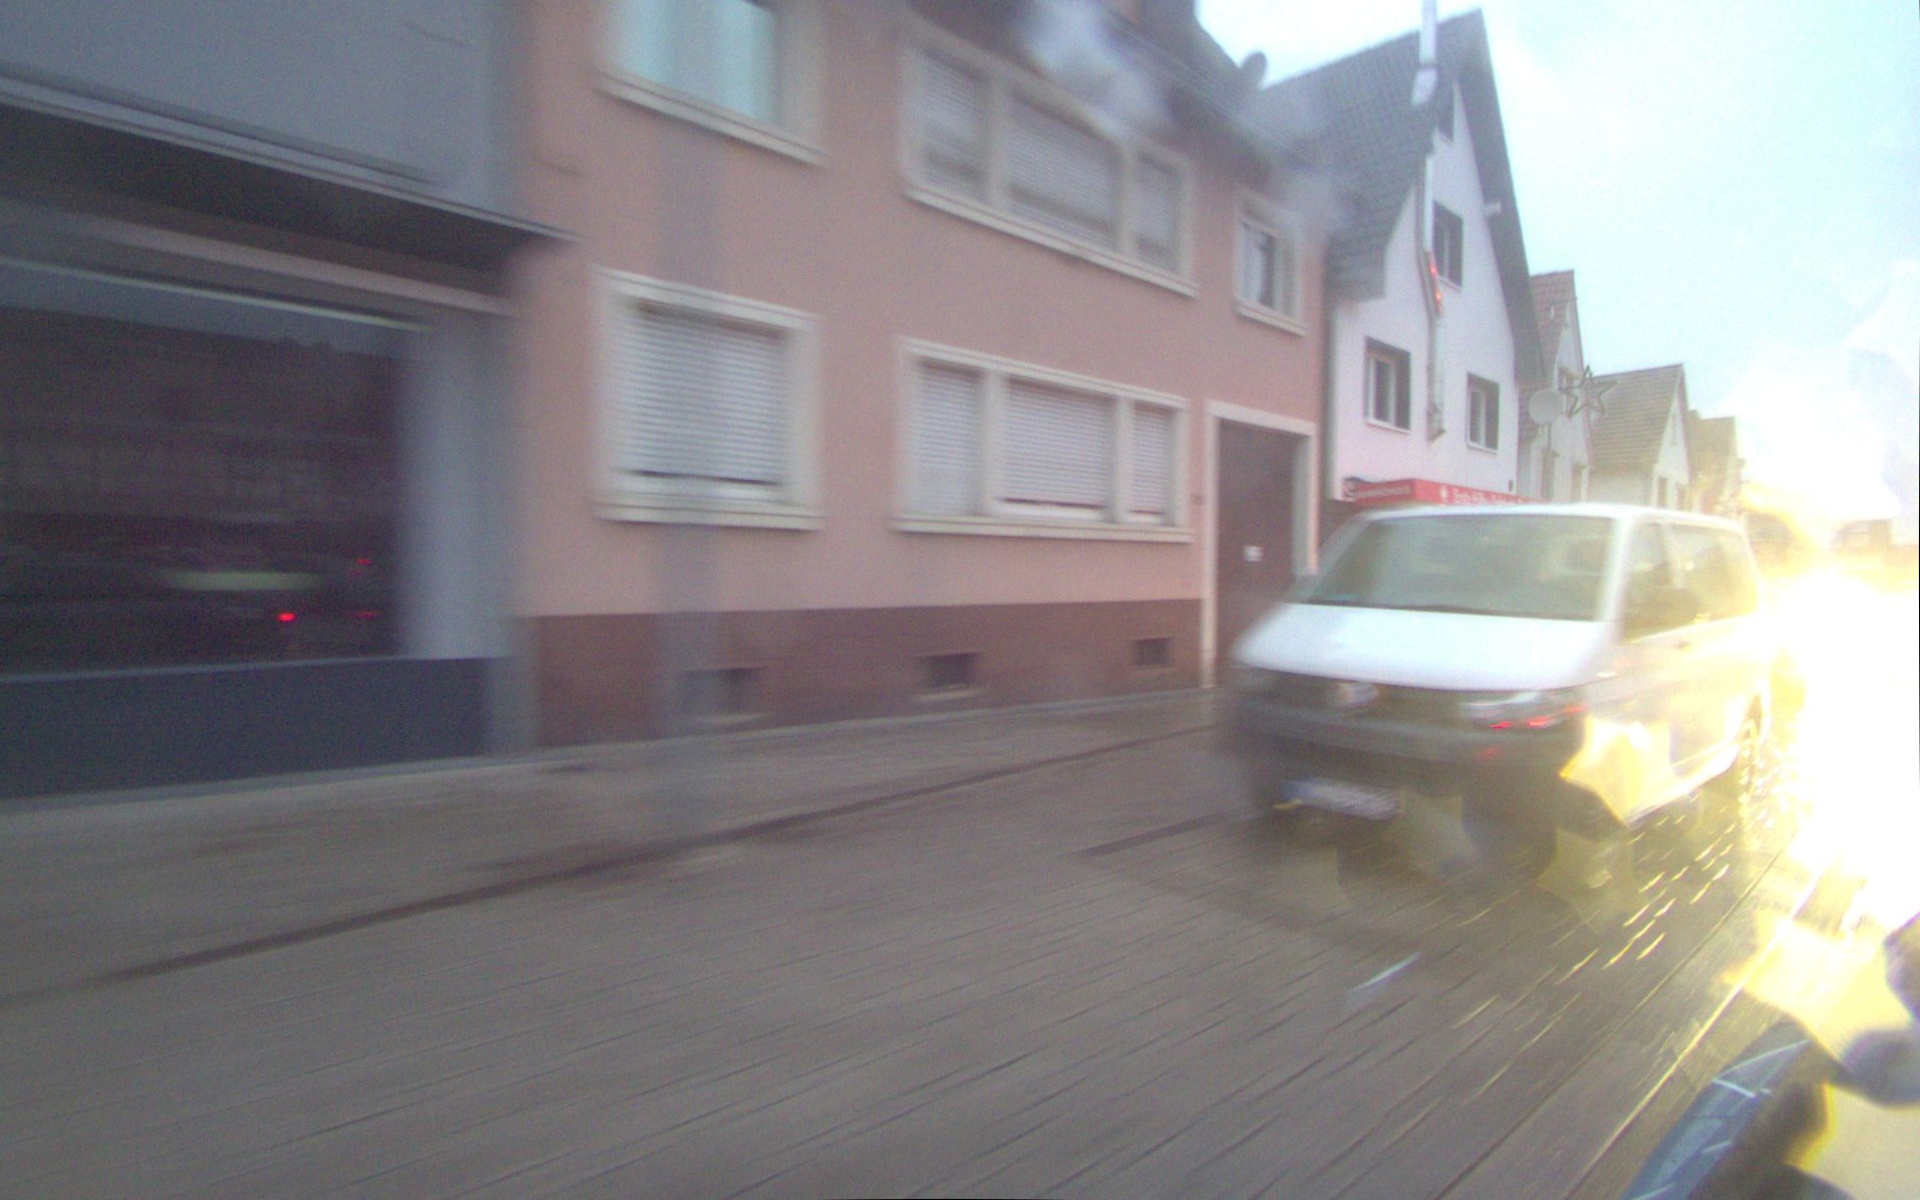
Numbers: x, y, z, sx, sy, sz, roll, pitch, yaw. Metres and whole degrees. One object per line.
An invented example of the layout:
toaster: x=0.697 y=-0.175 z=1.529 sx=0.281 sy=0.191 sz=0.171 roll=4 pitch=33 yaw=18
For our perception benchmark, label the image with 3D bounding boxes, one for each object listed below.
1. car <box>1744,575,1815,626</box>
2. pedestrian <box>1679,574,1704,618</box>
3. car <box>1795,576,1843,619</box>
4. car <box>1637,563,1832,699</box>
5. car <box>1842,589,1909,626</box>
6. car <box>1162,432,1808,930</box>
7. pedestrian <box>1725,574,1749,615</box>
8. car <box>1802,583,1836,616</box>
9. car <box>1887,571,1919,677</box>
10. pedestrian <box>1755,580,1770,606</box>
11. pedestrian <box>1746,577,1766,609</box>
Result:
car: x=31.896 y=-0.006 z=39.349 sx=1.992 sy=1.806 sz=4.454 roll=3 pitch=2 yaw=40
pedestrian: x=30.095 y=-0.155 z=41.628 sx=0.640 sy=1.742 sz=0.608 roll=1 pitch=2 yaw=-43
car: x=44.302 y=-0.132 z=52.237 sx=1.742 sy=2.038 sz=3.752 roll=5 pitch=3 yaw=40
car: x=11.602 y=0.353 z=15.031 sx=1.973 sy=1.681 sz=4.393 roll=3 pitch=2 yaw=41
car: x=34.191 y=0.260 z=37.867 sx=1.659 sy=1.227 sz=3.723 roll=3 pitch=3 yaw=40
car: x=3.558 y=0.292 z=6.357 sx=4.767 sy=1.984 sz=1.977 roll=0 pitch=2 yaw=-41
pedestrian: x=35.048 y=-0.264 z=45.670 sx=0.499 sy=1.819 sz=0.650 roll=2 pitch=2 yaw=-37
car: x=55.009 y=-0.051 z=64.797 sx=1.526 sy=2.038 sz=3.941 roll=2 pitch=2 yaw=41
car: x=17.433 y=0.375 z=17.217 sx=2.265 sy=1.663 sz=4.985 roll=2 pitch=2 yaw=44
pedestrian: x=50.320 y=-0.425 z=63.469 sx=0.655 sy=1.625 sz=0.712 roll=2 pitch=1 yaw=43
pedestrian: x=45.835 y=-0.396 z=58.245 sx=0.817 sy=1.786 sz=1.044 roll=2 pitch=1 yaw=41
